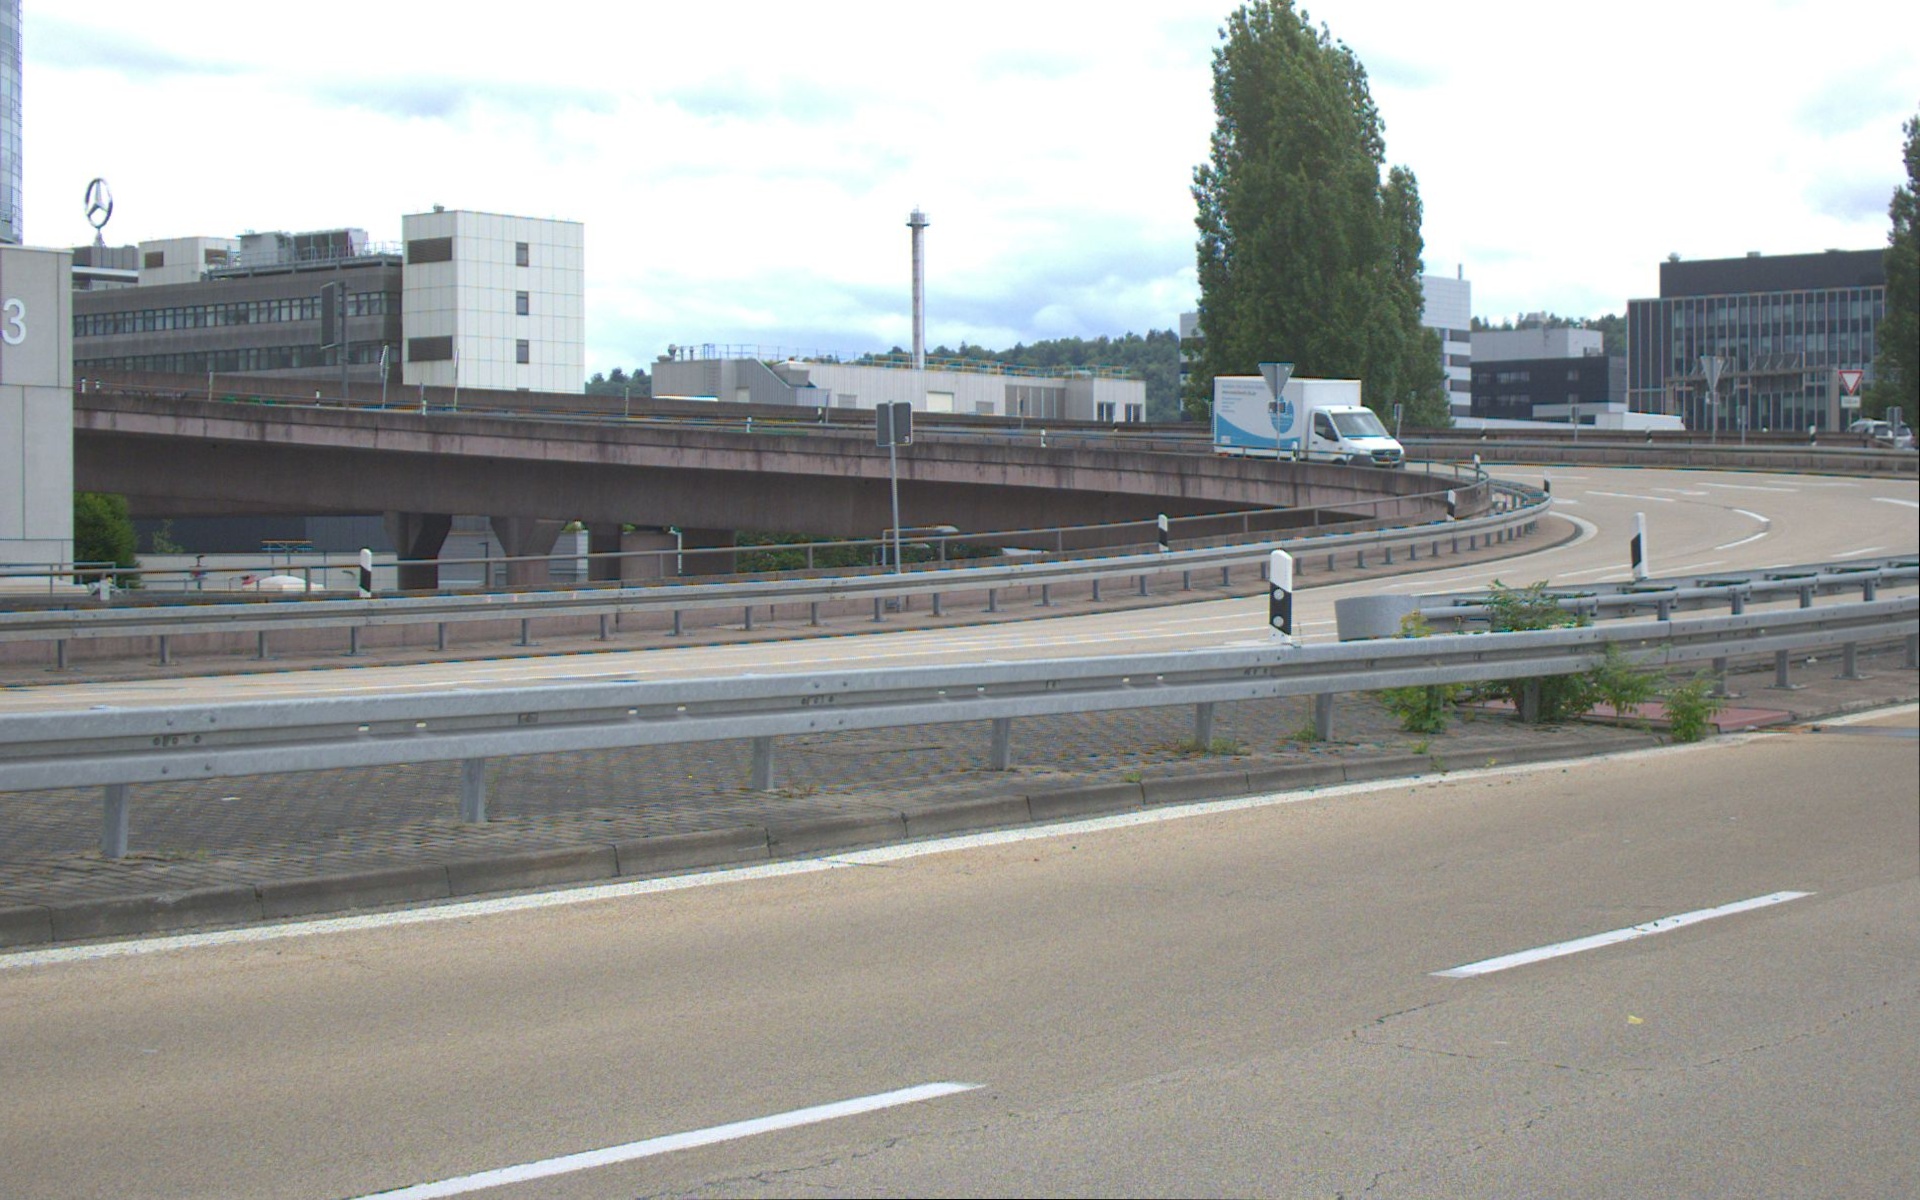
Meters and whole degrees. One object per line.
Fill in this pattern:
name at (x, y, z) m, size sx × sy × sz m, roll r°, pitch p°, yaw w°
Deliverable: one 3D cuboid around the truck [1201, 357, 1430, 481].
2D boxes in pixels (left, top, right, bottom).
truck at (10.358, -5.335, 100.776) m, size 2.345 × 3.251 × 6.995 m, roll 0°, pitch 4°, yaw -38°
